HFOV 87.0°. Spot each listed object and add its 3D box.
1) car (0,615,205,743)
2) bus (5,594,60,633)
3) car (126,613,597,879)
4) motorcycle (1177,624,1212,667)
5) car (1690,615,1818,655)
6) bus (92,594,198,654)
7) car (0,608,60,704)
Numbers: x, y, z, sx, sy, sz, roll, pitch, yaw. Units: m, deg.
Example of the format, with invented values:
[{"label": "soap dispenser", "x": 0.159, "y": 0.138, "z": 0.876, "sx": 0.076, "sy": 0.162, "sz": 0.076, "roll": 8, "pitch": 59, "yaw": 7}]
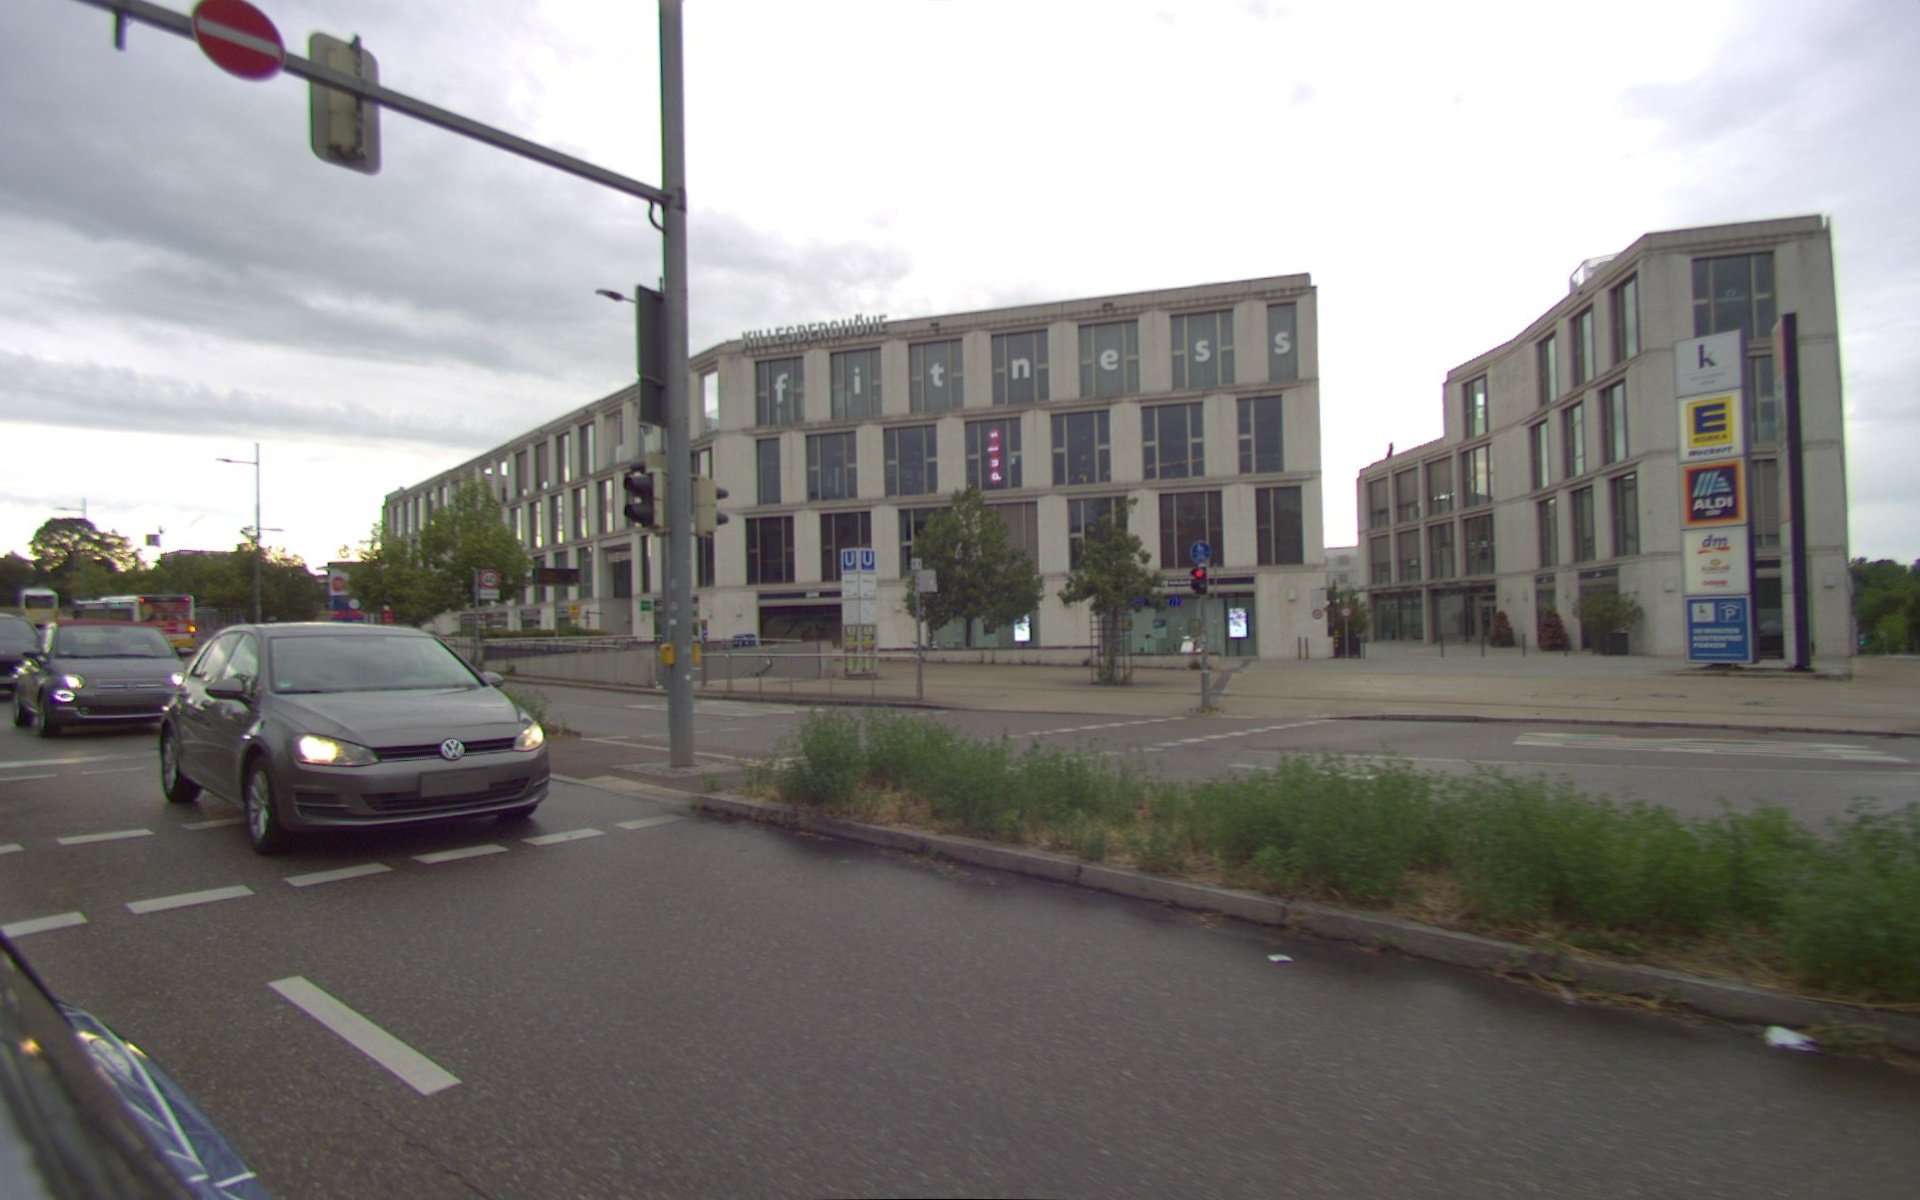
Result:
[{"label": "car", "x": -11.988, "y": 1.010, "z": 14.061, "sx": 3.655, "sy": 1.541, "sz": 1.648, "roll": -2, "pitch": -2, "yaw": 41}, {"label": "bus", "x": -87.104, "y": 1.295, "z": 94.992, "sx": 9.137, "sy": 3.543, "sz": 2.779, "roll": -1, "pitch": -2, "yaw": 41}, {"label": "car", "x": -4.621, "y": 0.857, "z": 7.584, "sx": 3.998, "sy": 1.450, "sz": 1.880, "roll": -1, "pitch": -2, "yaw": 41}, {"label": "motorcycle", "x": 8.010, "y": 1.539, "z": 34.519, "sx": 0.527, "sy": 1.413, "sz": 1.734, "roll": -1, "pitch": -1, "yaw": 35}, {"label": "car", "x": 28.864, "y": 1.270, "z": 36.889, "sx": 3.267, "sy": 1.387, "sz": 1.559, "roll": -1, "pitch": -1, "yaw": 17}, {"label": "bus", "x": -44.384, "y": 1.317, "z": 54.980, "sx": 10.001, "sy": 3.012, "sz": 2.842, "roll": -1, "pitch": -2, "yaw": 41}, {"label": "car", "x": -19.345, "y": 1.070, "z": 19.945, "sx": 3.997, "sy": 1.785, "sz": 1.881, "roll": -1, "pitch": -2, "yaw": 41}]
